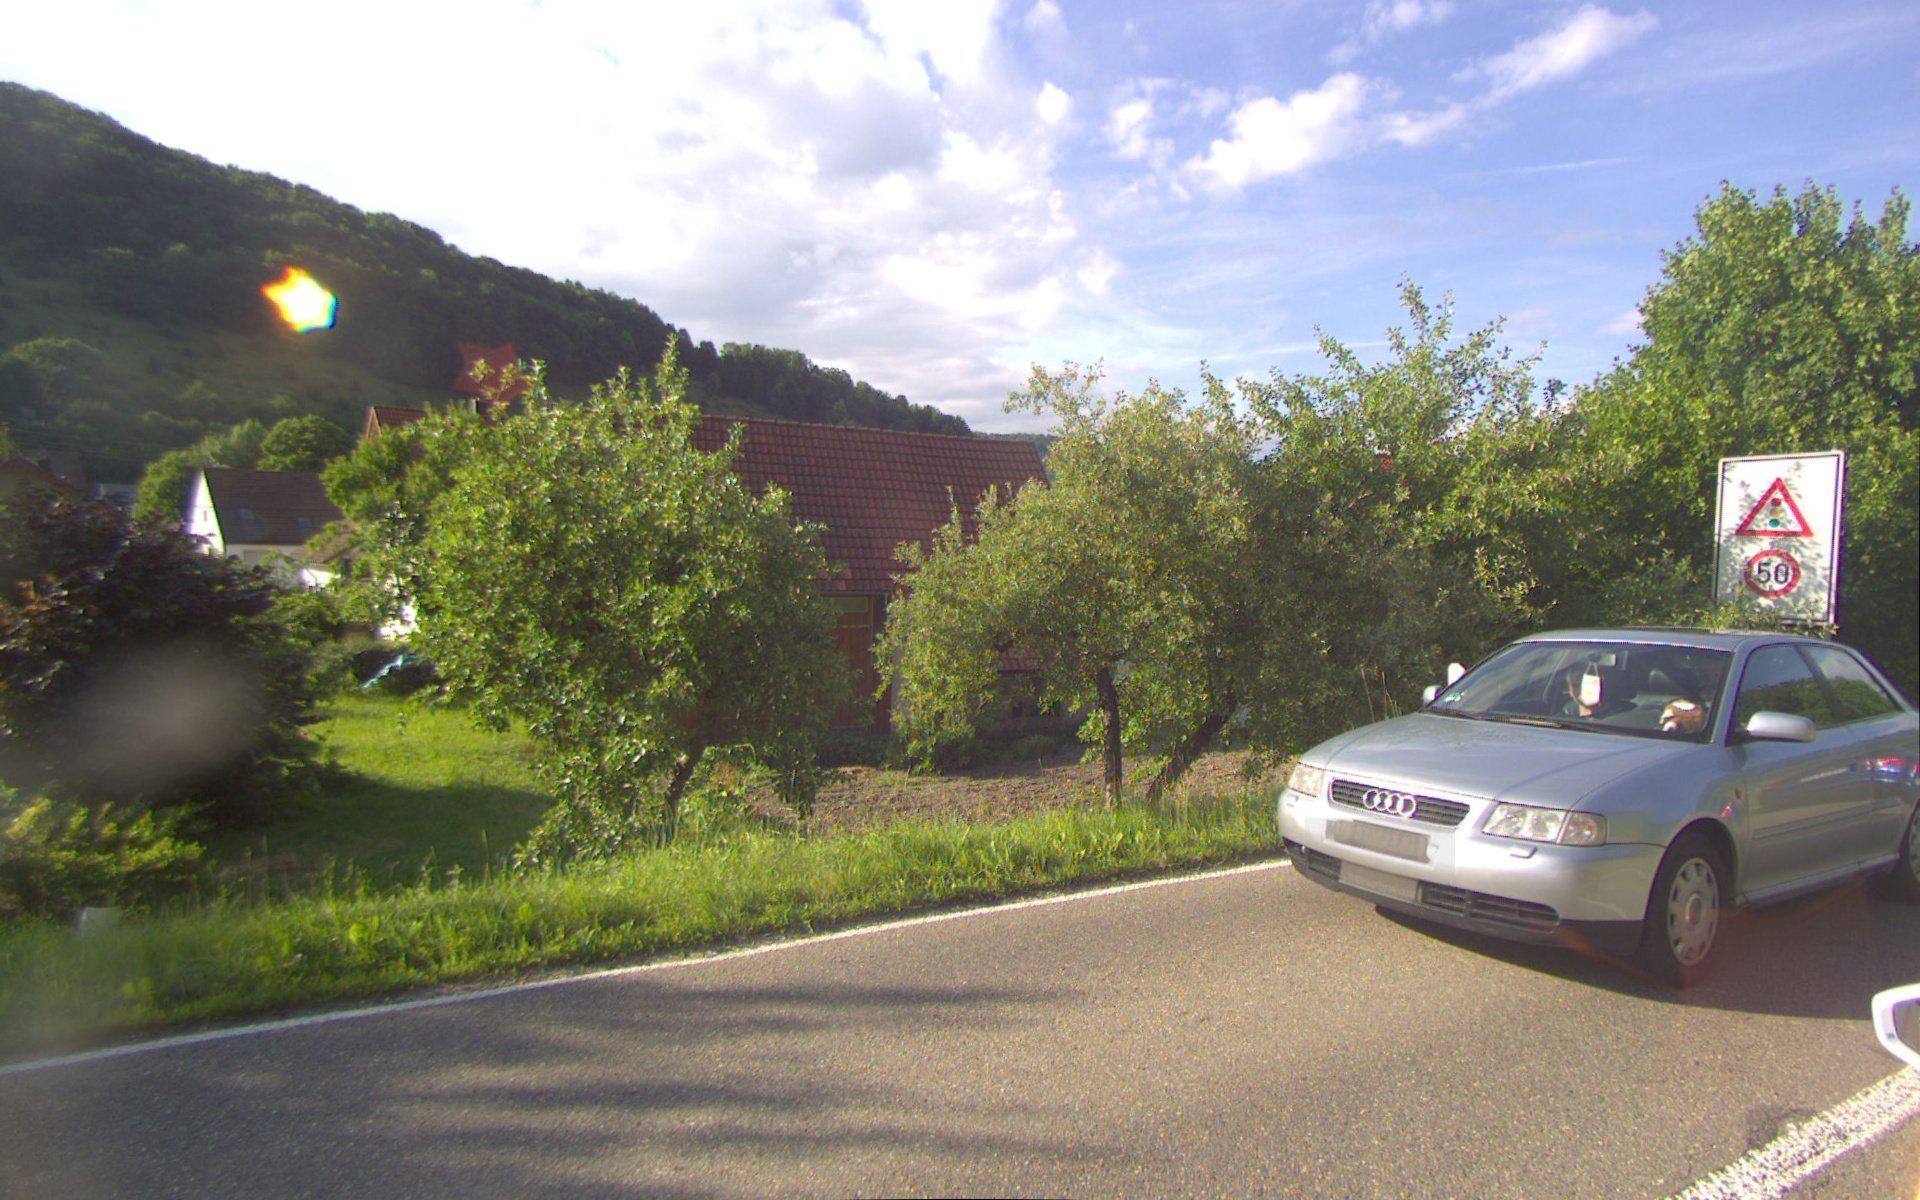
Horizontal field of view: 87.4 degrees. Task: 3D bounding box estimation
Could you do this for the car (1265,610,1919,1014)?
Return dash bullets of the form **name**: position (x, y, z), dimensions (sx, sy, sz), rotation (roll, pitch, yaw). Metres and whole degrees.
- **car**: position (3.513, 0.799, 5.198), dimensions (3.619, 1.428, 1.685), rotation (1, -1, -29)
